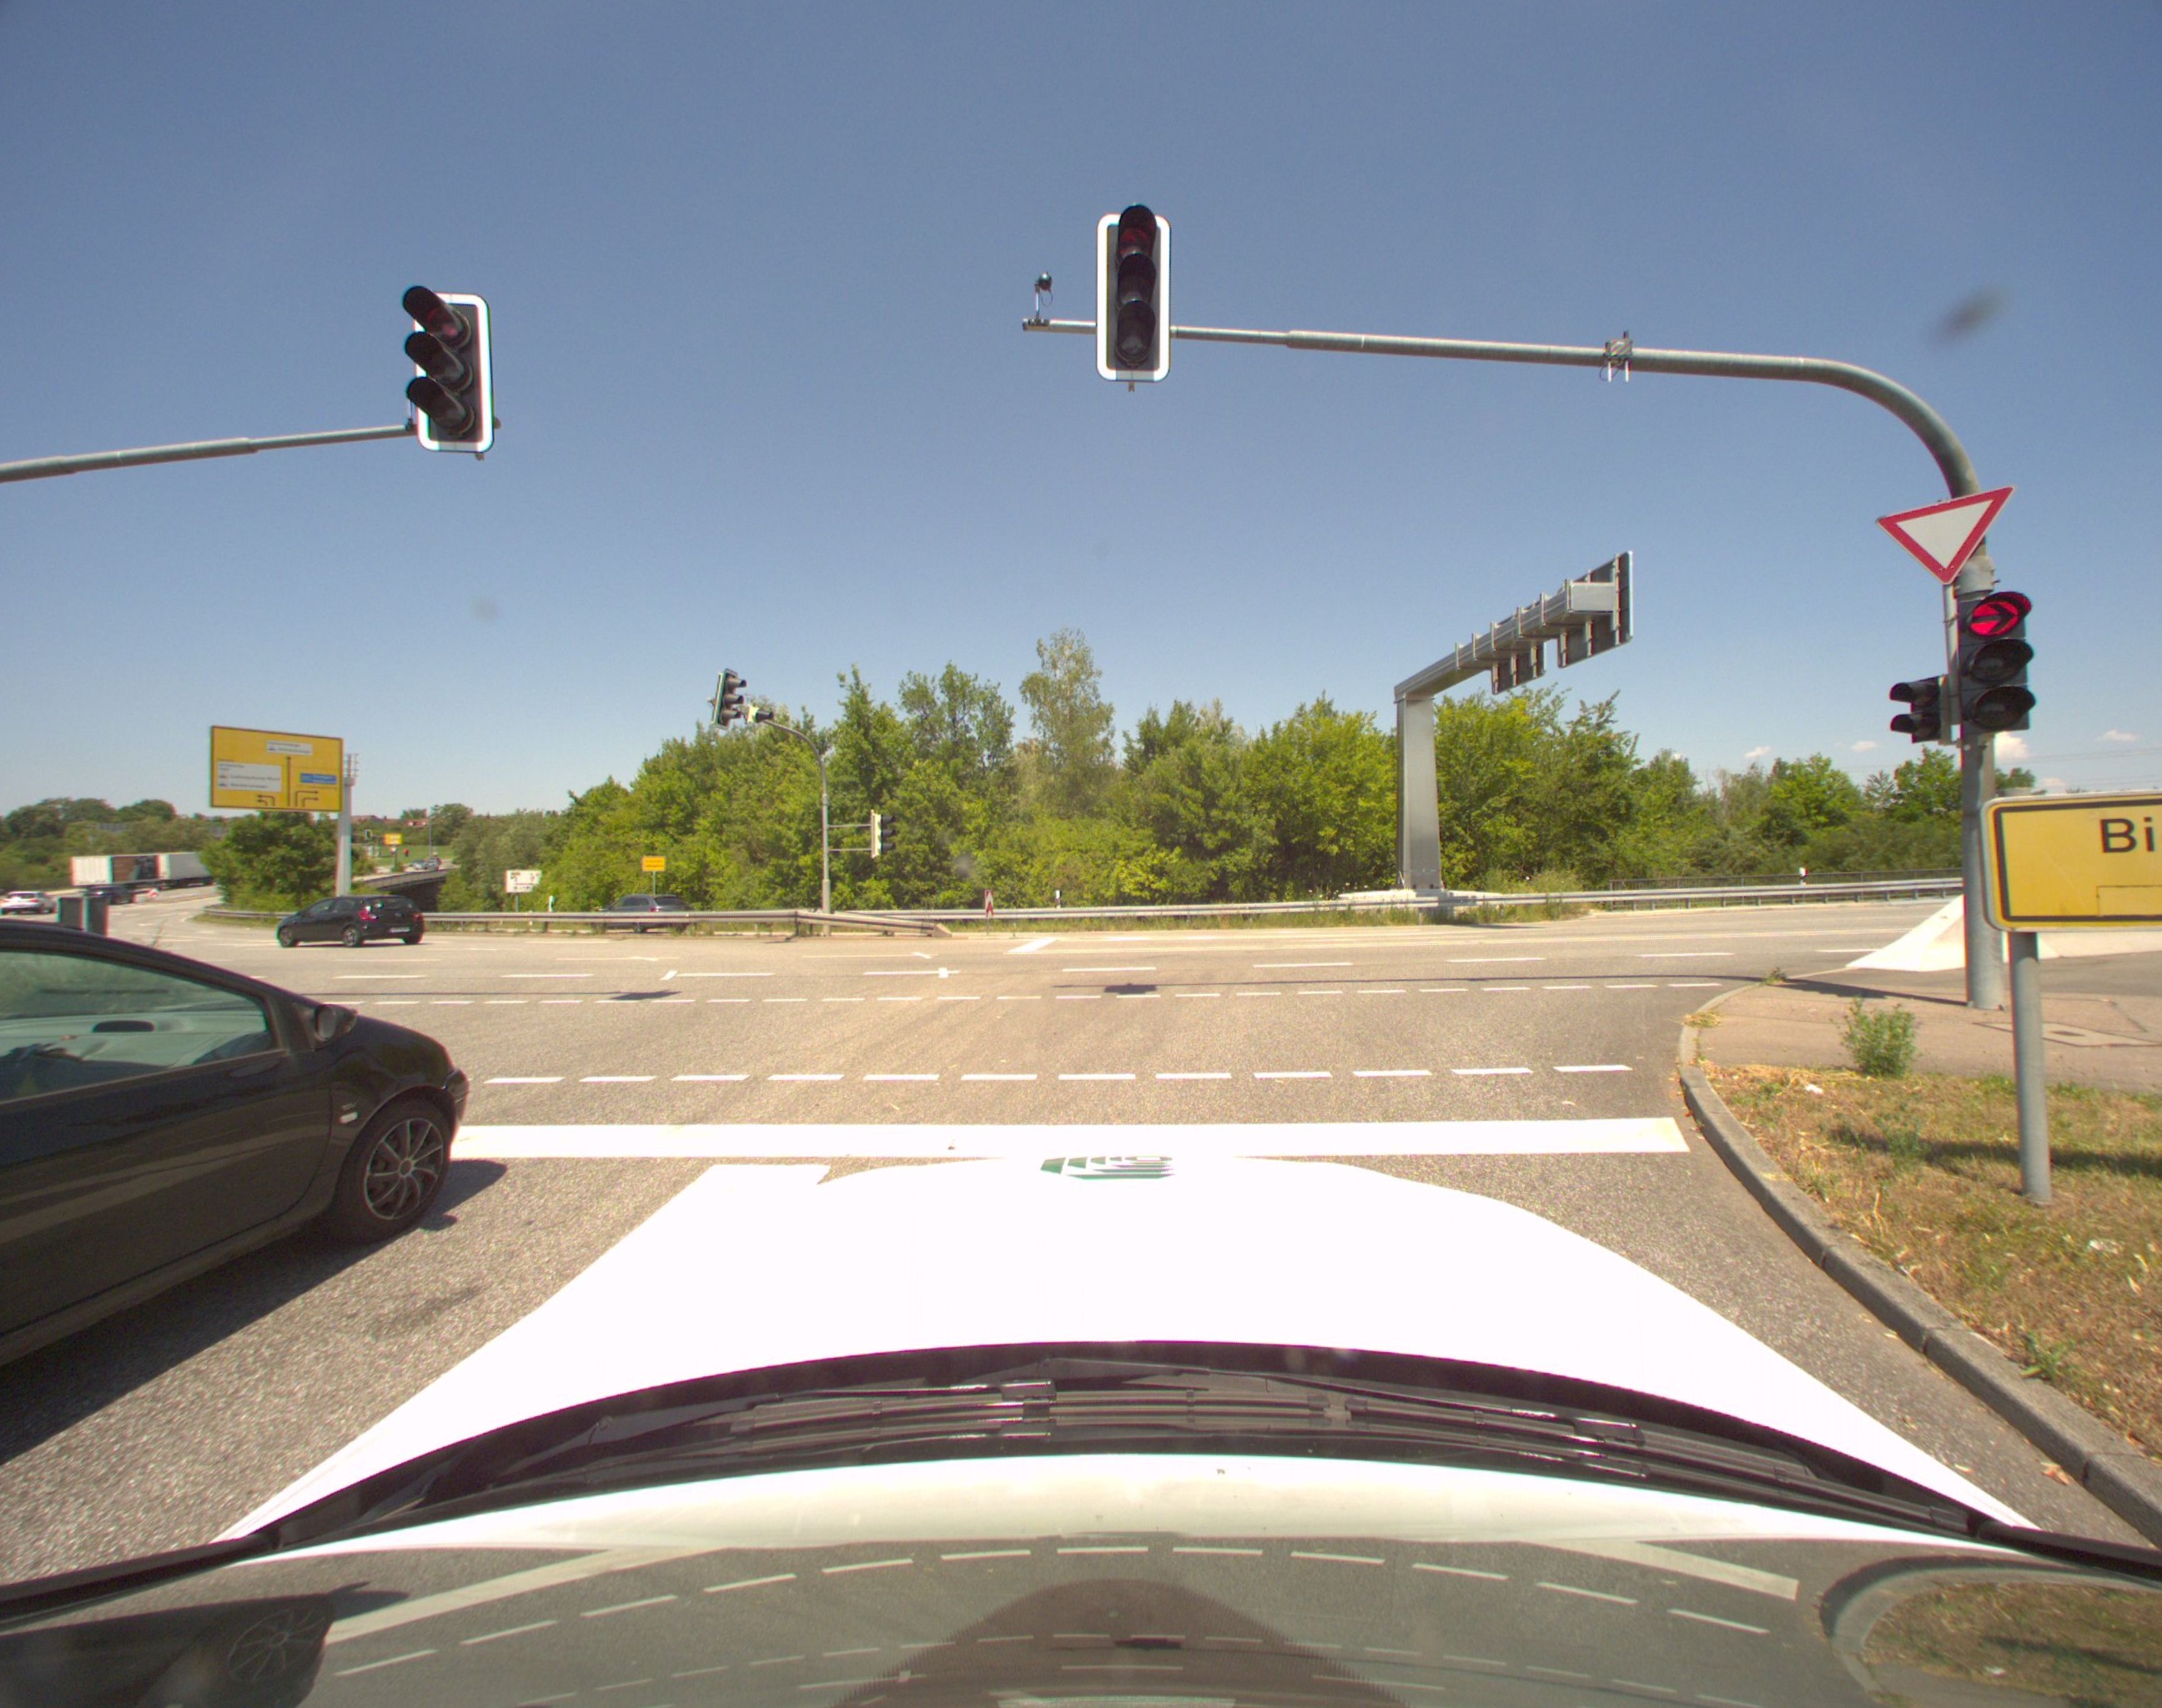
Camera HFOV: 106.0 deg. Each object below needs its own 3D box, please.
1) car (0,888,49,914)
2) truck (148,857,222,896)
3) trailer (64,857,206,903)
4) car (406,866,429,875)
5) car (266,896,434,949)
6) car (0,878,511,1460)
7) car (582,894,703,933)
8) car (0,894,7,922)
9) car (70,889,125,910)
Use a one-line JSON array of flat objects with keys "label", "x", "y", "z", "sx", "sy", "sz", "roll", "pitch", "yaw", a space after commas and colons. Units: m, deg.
[{"label": "car", "x": -76.837, "y": 3.390, "z": 58.878, "sx": 1.944, "sy": 1.665, "sz": 3.953, "roll": -1, "pitch": 1, "yaw": -40}, {"label": "truck", "x": -101.952, "y": 2.494, "z": 92.802, "sx": 3.245, "sy": 4.248, "sz": 6.190, "roll": 0, "pitch": 0, "yaw": -23}, {"label": "trailer", "x": -99.017, "y": 2.508, "z": 85.808, "sx": 3.245, "sy": 4.248, "sz": 15.291, "roll": 0, "pitch": 0, "yaw": -23}, {"label": "car", "x": -125.184, "y": 3.029, "z": 153.697, "sx": 1.799, "sy": 1.631, "sz": 3.800, "roll": 0, "pitch": 0, "yaw": -13}, {"label": "car", "x": -20.993, "y": 1.944, "z": 23.428, "sx": 3.884, "sy": 1.434, "sz": 1.819, "roll": -1, "pitch": -3, "yaw": 18}, {"label": "car", "x": -3.516, "y": 0.822, "z": 2.231, "sx": 1.615, "sy": 1.407, "sz": 3.298, "roll": -1, "pitch": 0, "yaw": -1}, {"label": "car", "x": -17.037, "y": 2.310, "z": 31.646, "sx": 4.359, "sy": 1.434, "sz": 1.821, "roll": -2, "pitch": -4, "yaw": 25}, {"label": "car", "x": -64.498, "y": 3.229, "z": 47.372, "sx": 1.894, "sy": 1.622, "sz": 3.950, "roll": -1, "pitch": 0, "yaw": -45}, {"label": "car", "x": -84.250, "y": 3.867, "z": 69.834, "sx": 2.008, "sy": 1.552, "sz": 3.957, "roll": 0, "pitch": 0, "yaw": -35}]
